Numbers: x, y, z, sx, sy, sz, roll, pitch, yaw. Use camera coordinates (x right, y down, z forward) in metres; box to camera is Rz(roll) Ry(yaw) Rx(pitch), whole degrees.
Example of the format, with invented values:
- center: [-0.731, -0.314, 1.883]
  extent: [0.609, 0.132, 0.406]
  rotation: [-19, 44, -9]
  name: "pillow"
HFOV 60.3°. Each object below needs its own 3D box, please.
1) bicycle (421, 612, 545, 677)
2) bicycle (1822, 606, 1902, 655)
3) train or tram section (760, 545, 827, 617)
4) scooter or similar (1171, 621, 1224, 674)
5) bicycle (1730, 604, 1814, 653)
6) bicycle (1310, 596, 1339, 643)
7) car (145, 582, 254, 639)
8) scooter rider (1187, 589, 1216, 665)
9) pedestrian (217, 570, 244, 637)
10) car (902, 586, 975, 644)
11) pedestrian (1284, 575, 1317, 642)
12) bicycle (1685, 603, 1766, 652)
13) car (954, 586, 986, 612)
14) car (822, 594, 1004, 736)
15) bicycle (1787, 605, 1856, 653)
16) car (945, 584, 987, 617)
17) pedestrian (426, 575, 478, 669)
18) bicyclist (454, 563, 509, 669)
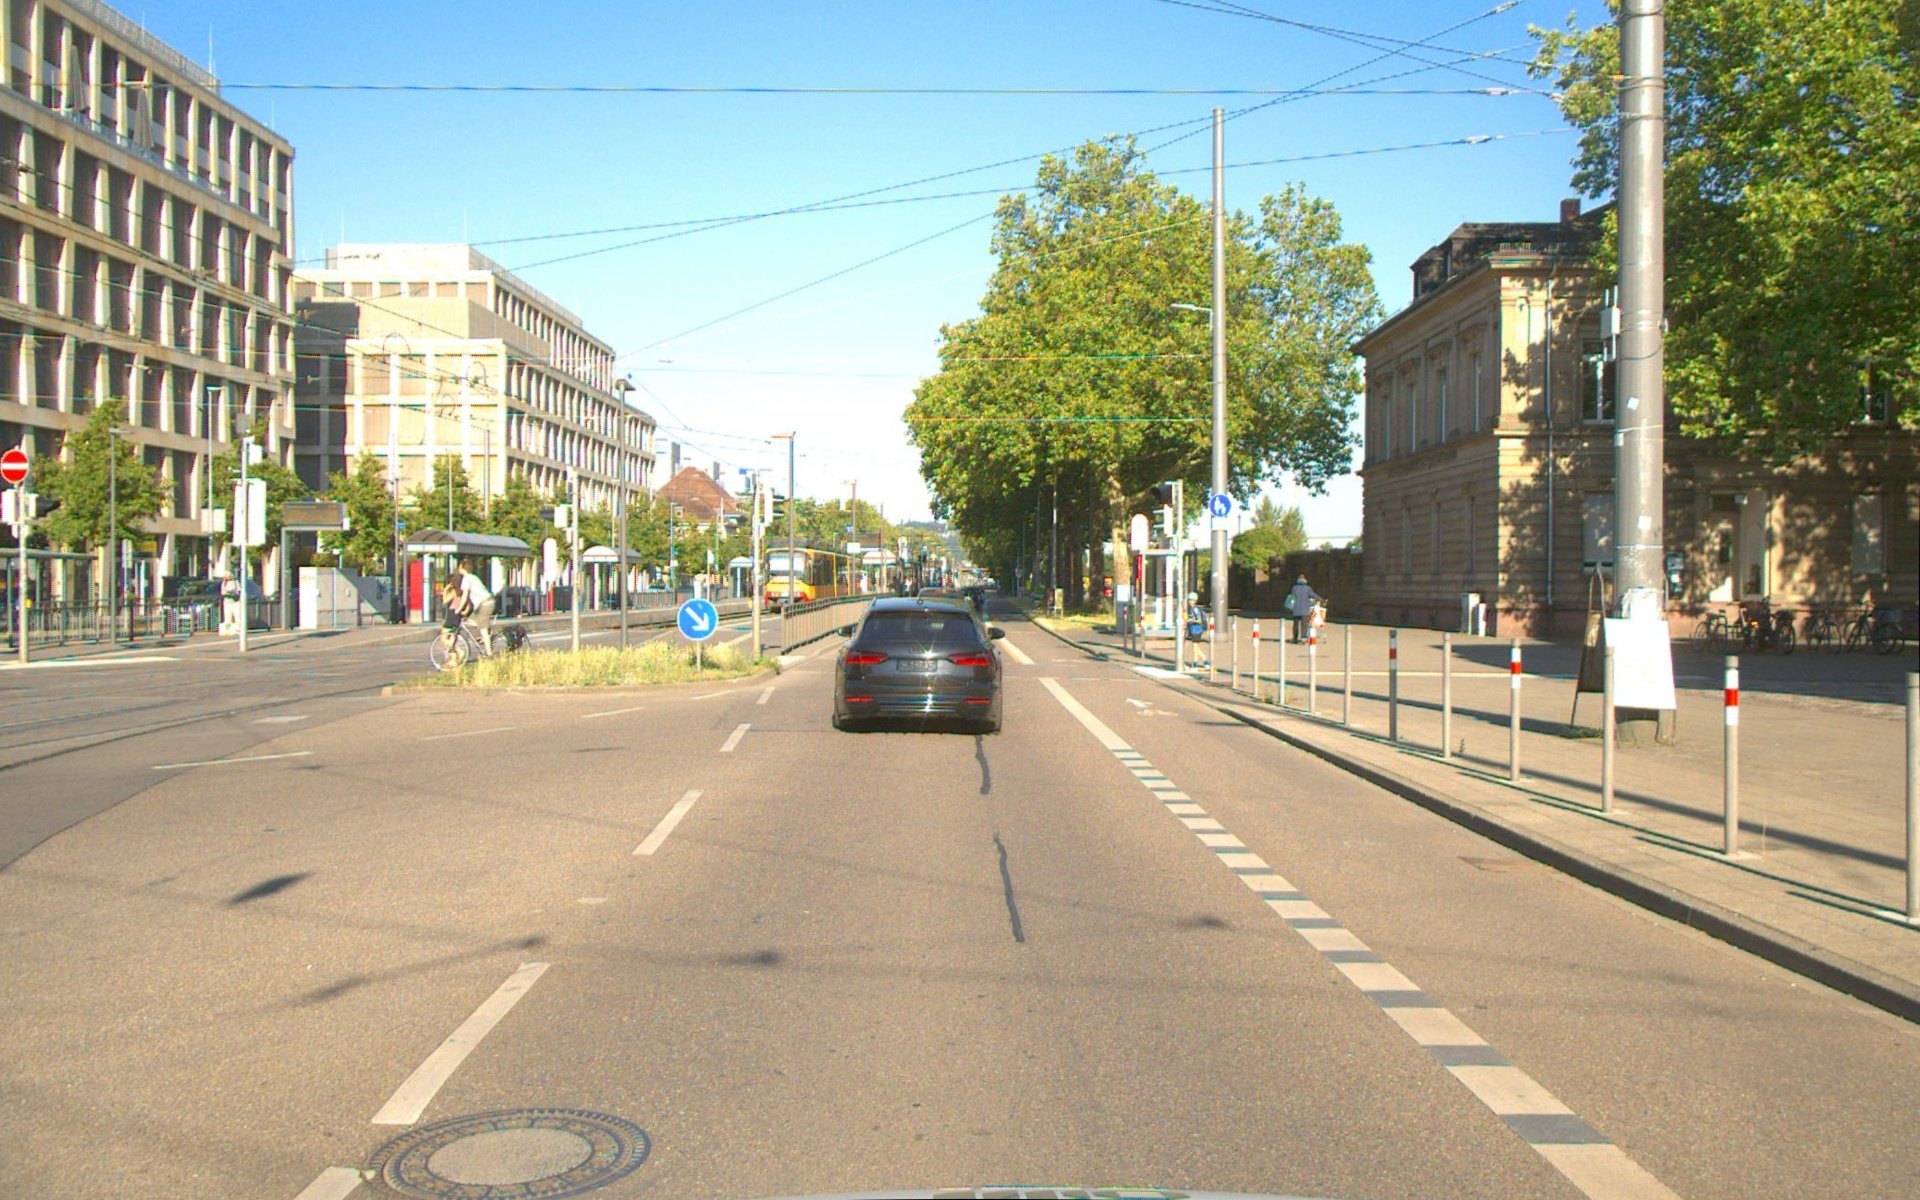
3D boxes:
- center: [-8.401, 0.780, 29.177]
  extent: [1.964, 1.127, 0.764]
  rotation: [0, 0, -1]
  name: "bicycle"
- center: [20.892, 0.687, 38.359]
  extent: [0.515, 1.065, 2.229]
  rotation: [0, 0, -3]
  name: "bicycle"
- center: [-8.668, -0.984, 87.302]
  extent: [2.555, 3.511, 11.130]
  rotation: [0, 0, -1]
  name: "train or tram section"
- center: [4.464, 0.890, 31.063]
  extent: [0.919, 0.983, 0.361]
  rotation: [-1, -1, -2]
  name: "scooter or similar"
- center: [18.485, 0.635, 37.708]
  extent: [0.516, 1.065, 2.355]
  rotation: [0, 0, -7]
  name: "bicycle"
- center: [9.255, 0.480, 42.050]
  extent: [0.426, 1.165, 1.340]
  rotation: [0, 0, -1]
  name: "bicycle"
- center: [-25.790, 0.325, 56.216]
  extent: [1.804, 1.844, 4.113]
  rotation: [0, 0, 0]
  name: "car"
- center: [4.532, 0.504, 31.061]
  extent: [0.475, 1.410, 0.377]
  rotation: [-1, -1, -1]
  name: "scooter rider"
- center: [-18.539, 0.087, 42.035]
  extent: [0.609, 1.693, 0.510]
  rotation: [0, 0, -24]
  name: "pedestrian"
- center: [-0.558, 0.402, 45.828]
  extent: [1.863, 1.512, 4.145]
  rotation: [1, 0, 1]
  name: "car"
- center: [8.644, 0.220, 42.030]
  extent: [0.668, 1.689, 0.758]
  rotation: [0, 0, -1]
  name: "pedestrian"
- center: [17.442, 0.606, 37.740]
  extent: [0.516, 1.065, 2.355]
  rotation: [0, 0, -7]
  name: "bicycle"
- center: [0.618, -0.059, 100.156]
  extent: [1.863, 1.512, 4.145]
  rotation: [1, 0, 1]
  name: "car"
- center: [-0.442, 0.685, 19.213]
  extent: [1.863, 1.446, 4.145]
  rotation: [1, 0, 1]
  name: "car"
- center: [19.850, 0.656, 38.160]
  extent: [0.515, 1.065, 2.231]
  rotation: [0, 0, 2]
  name: "bicycle"
- center: [0.304, 0.025, 77.361]
  extent: [1.863, 1.512, 4.145]
  rotation: [1, 0, 1]
  name: "car"
- center: [-9.648, 0.411, 31.422]
  extent: [0.724, 1.772, 0.664]
  rotation: [0, 0, 9]
  name: "pedestrian"
- center: [-8.439, 0.276, 29.188]
  extent: [0.741, 1.850, 0.764]
  rotation: [0, 0, -1]
  name: "bicyclist"
